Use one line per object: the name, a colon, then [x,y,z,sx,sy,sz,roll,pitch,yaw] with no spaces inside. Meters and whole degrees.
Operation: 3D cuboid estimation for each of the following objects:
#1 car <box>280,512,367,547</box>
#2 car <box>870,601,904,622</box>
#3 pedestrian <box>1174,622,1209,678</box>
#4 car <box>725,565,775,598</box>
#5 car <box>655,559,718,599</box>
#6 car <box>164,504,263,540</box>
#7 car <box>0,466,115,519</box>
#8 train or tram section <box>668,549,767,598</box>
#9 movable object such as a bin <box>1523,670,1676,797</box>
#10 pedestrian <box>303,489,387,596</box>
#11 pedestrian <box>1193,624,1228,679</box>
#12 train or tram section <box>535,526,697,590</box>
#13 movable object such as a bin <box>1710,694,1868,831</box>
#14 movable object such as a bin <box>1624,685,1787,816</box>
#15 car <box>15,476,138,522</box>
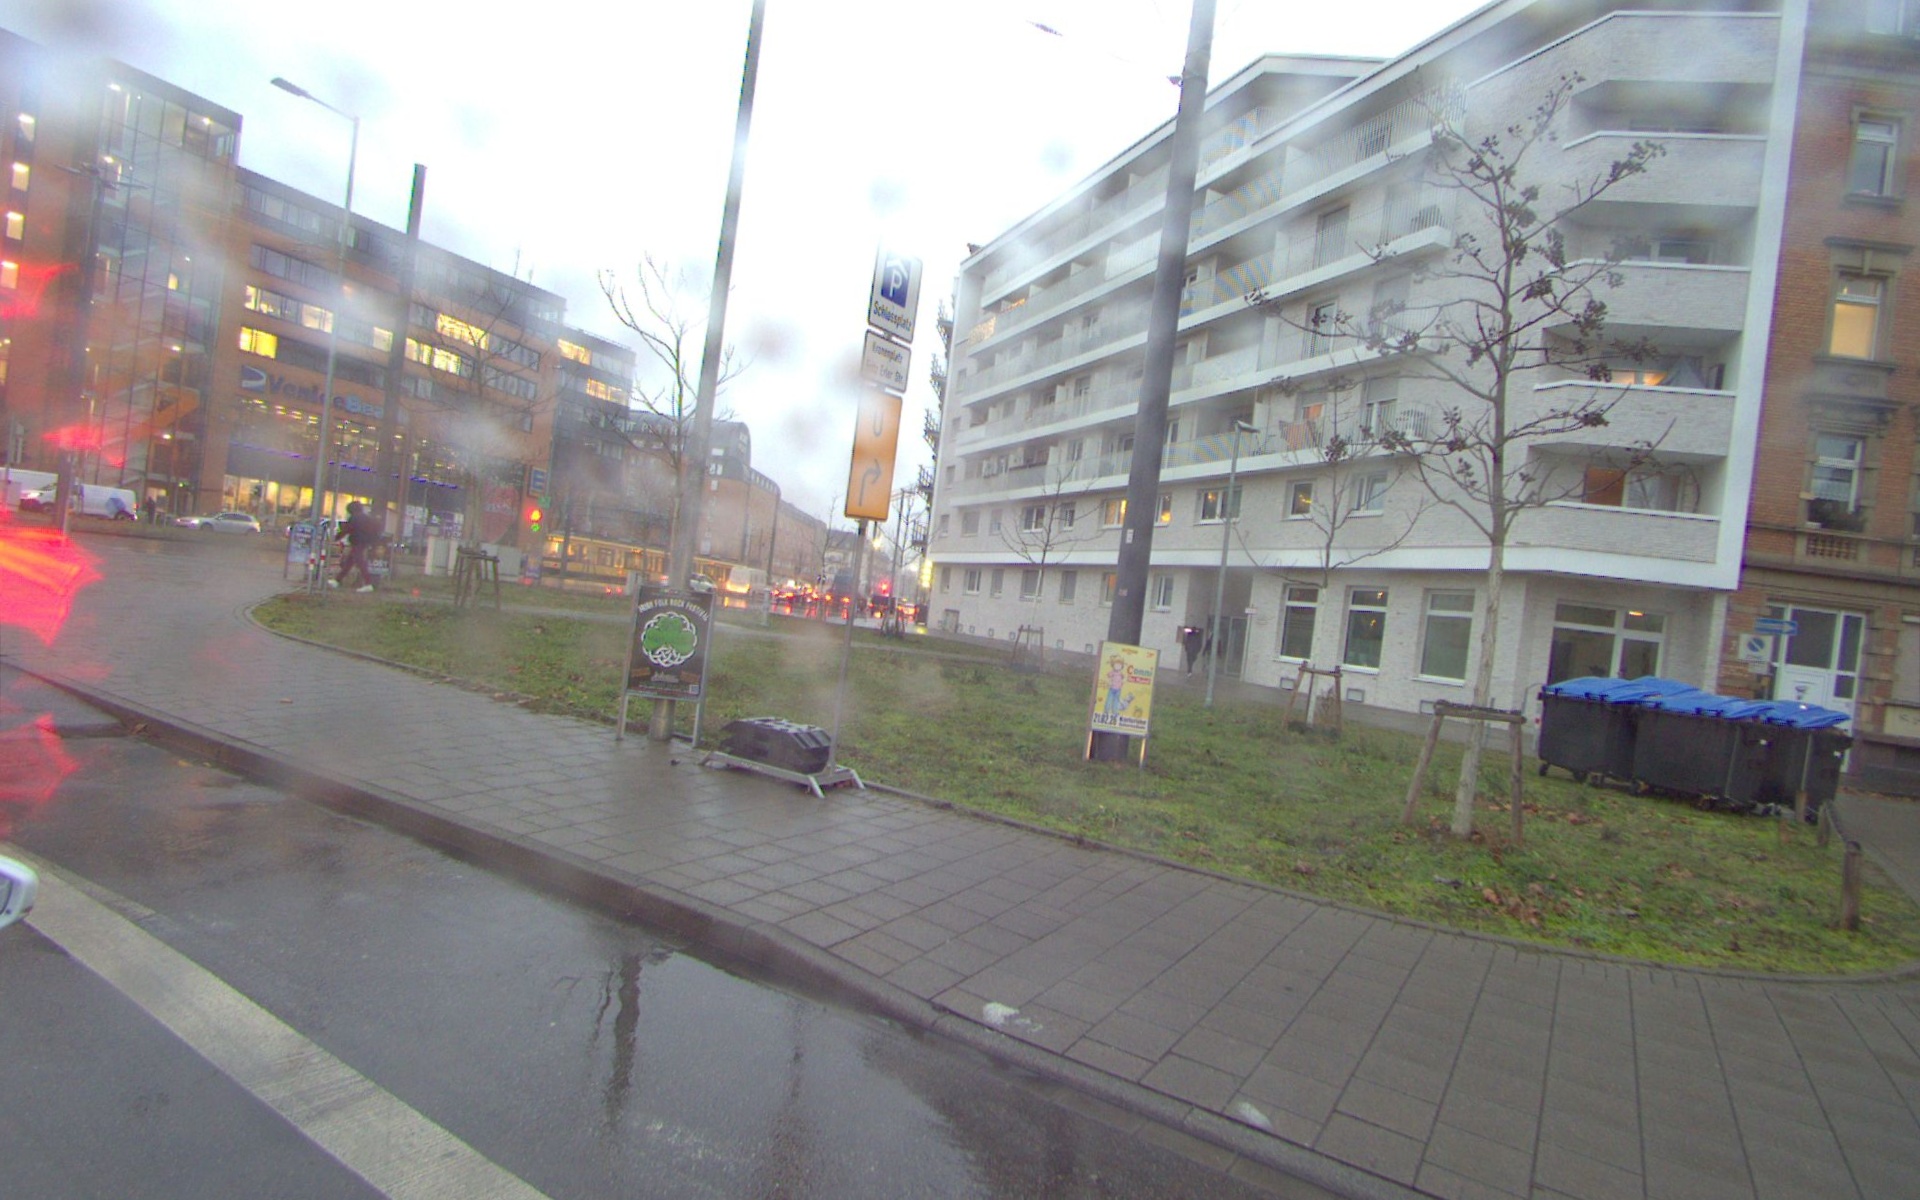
car: [-41.406,-4.578,65.534,1.767,1.553,4.444,7,-1,25]
car: [-7.237,1.165,100.660,1.962,1.600,4.094,8,-2,16]
pedestrian: [7.607,1.643,33.101,0.670,1.733,0.601,9,-1,-29]
car: [-17.480,-1.477,84.171,1.962,2.036,4.957,8,-2,13]
car: [-18.639,-1.403,68.668,1.962,2.036,4.376,8,-2,16]
car: [-43.829,-4.576,59.161,1.767,1.406,4.227,7,-1,25]
car: [-49.149,-5.803,54.402,1.767,2.025,4.852,7,0,25]
train or tram section: [-21.899,-2.241,91.956,2.293,3.300,13.005,7,-1,17]
movable object such as a bin: [9.013,1.861,14.238,1.017,1.514,1.322,7,1,-21]
pedestrian: [-12.546,-1.165,20.524,1.164,1.946,0.890,10,-2,-35]
pedestrian: [8.332,1.712,33.508,0.670,1.733,0.625,9,-1,-29]
train or tram section: [-26.055,-2.992,77.961,2.293,3.300,16.666,7,-1,17]
movable object such as a bin: [10.733,2.079,13.061,1.021,1.507,1.039,9,-2,-12]
movable object such as a bin: [9.601,1.919,13.001,1.003,1.434,1.218,6,1,-21]
car: [-46.212,-5.270,52.717,1.767,1.614,4.431,7,-1,25]
